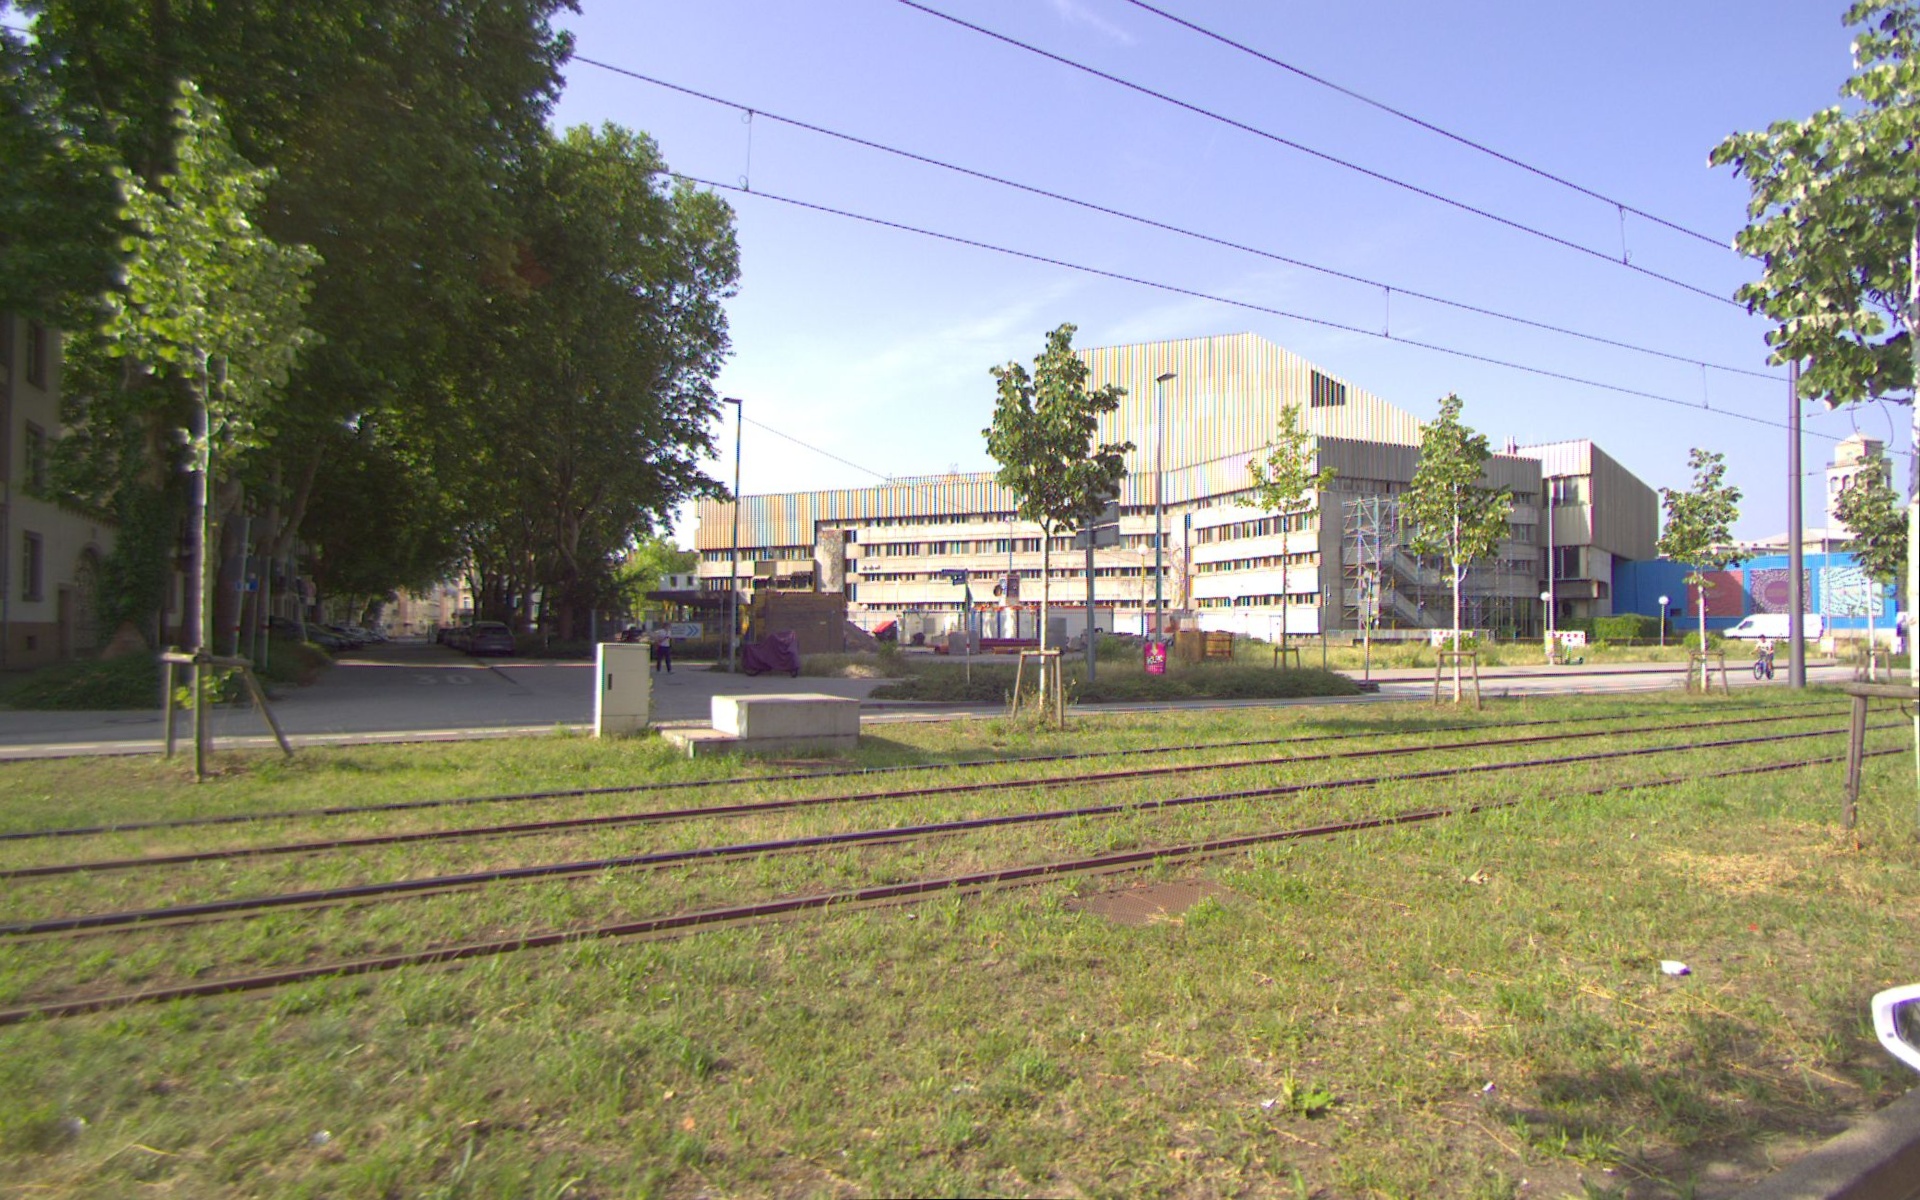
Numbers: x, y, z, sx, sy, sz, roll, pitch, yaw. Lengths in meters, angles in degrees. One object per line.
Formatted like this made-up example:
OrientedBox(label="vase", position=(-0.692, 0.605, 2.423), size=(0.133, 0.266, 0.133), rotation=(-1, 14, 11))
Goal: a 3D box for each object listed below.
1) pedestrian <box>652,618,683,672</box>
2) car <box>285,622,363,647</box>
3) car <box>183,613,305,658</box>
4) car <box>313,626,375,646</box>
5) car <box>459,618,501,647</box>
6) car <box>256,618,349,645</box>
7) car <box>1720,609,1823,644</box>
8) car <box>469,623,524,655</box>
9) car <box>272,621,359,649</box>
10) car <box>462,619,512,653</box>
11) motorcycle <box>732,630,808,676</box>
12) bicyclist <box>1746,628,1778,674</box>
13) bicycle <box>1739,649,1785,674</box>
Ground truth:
OrientedBox(label="pedestrian", position=(-9.265, 1.410, 31.823), size=(0.727, 1.700, 0.673), rotation=(-1, -2, 45))
OrientedBox(label="car", position=(-39.171, 2.123, 61.977), size=(3.953, 1.483, 1.984), rotation=(1, -1, -30))
OrientedBox(label="car", position=(-29.927, 1.470, 42.124), size=(3.953, 1.773, 1.984), rotation=(1, -1, -30))
OrientedBox(label="car", position=(-47.282, 2.768, 77.210), size=(3.953, 1.483, 1.984), rotation=(1, -1, -30))
OrientedBox(label="car", position=(-28.424, 1.913, 59.426), size=(1.976, 1.628, 3.969), rotation=(1, -2, -29))
OrientedBox(label="car", position=(-34.638, 1.664, 53.020), size=(3.953, 1.394, 1.886), rotation=(1, -1, -30))
OrientedBox(label="car", position=(70.370, 2.250, 87.248), size=(6.794, 2.674, 2.502), rotation=(2, 1, 41))
OrientedBox(label="car", position=(-21.109, 1.735, 45.661), size=(1.976, 1.394, 3.969), rotation=(1, -2, -29))
OrientedBox(label="car", position=(-35.915, 1.940, 56.079), size=(3.953, 1.483, 1.984), rotation=(1, -1, -30))
OrientedBox(label="car", position=(-23.526, 1.753, 49.935), size=(1.976, 1.628, 3.969), rotation=(1, -2, -29))
OrientedBox(label="motorcycle", position=(-5.944, 1.633, 31.369), size=(2.253, 1.387, 0.818), rotation=(0, -1, 24))
OrientedBox(label="bicyclist", position=(31.257, 2.002, 39.154), size=(0.908, 1.758, 0.644), rotation=(1, -3, -30))
OrientedBox(label="bicycle", position=(31.225, 2.388, 39.113), size=(2.053, 0.973, 0.659), rotation=(2, -3, -30))
